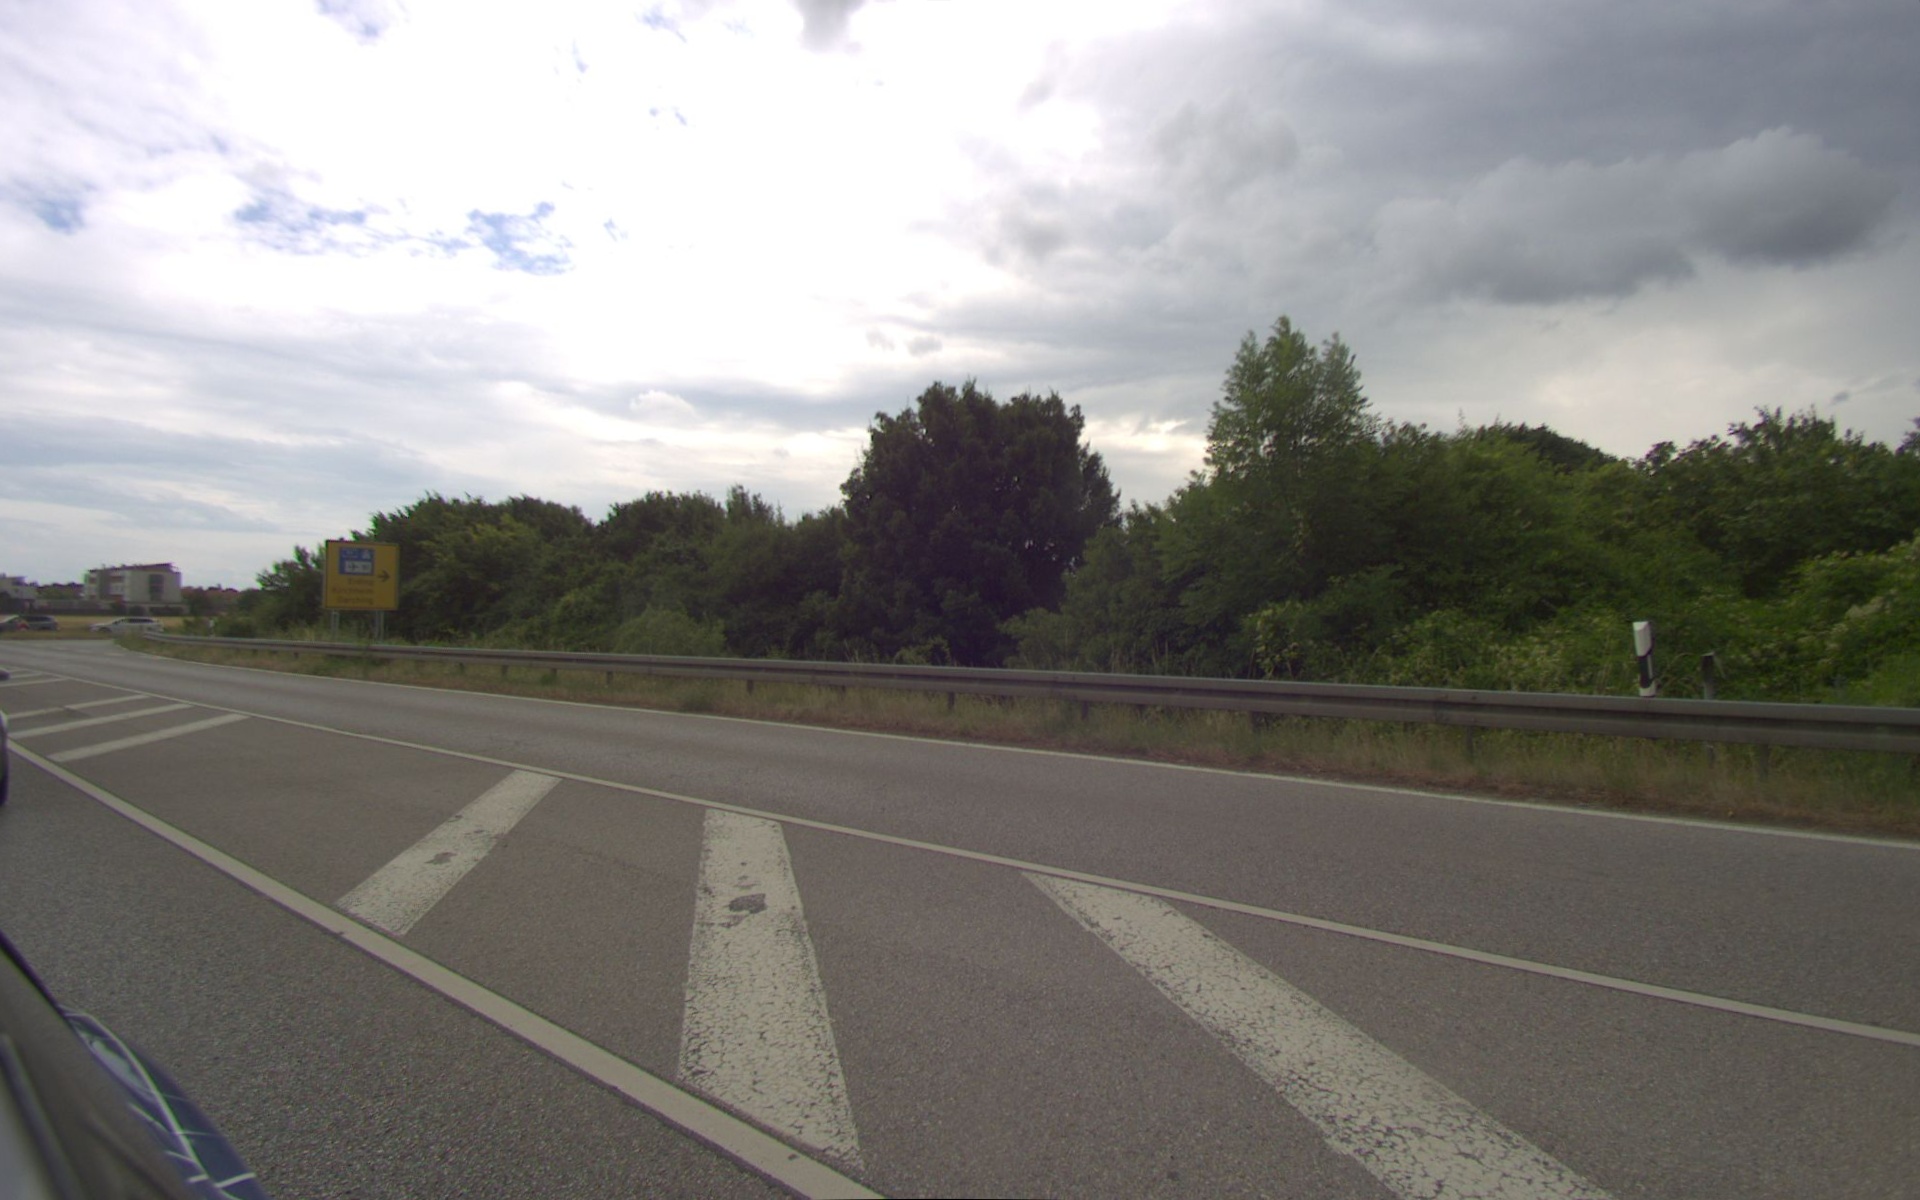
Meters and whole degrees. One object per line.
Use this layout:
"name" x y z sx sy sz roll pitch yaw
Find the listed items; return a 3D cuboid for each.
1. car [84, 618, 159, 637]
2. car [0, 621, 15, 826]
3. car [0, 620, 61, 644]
"car" -67.032 2.192 80.968 4.605 1.510 2.003 1 -1 -40
"car" -8.920 0.893 7.941 4.201 1.455 1.708 -1 -2 40
"car" -71.005 2.394 76.111 1.996 1.702 4.758 -1 -1 37
